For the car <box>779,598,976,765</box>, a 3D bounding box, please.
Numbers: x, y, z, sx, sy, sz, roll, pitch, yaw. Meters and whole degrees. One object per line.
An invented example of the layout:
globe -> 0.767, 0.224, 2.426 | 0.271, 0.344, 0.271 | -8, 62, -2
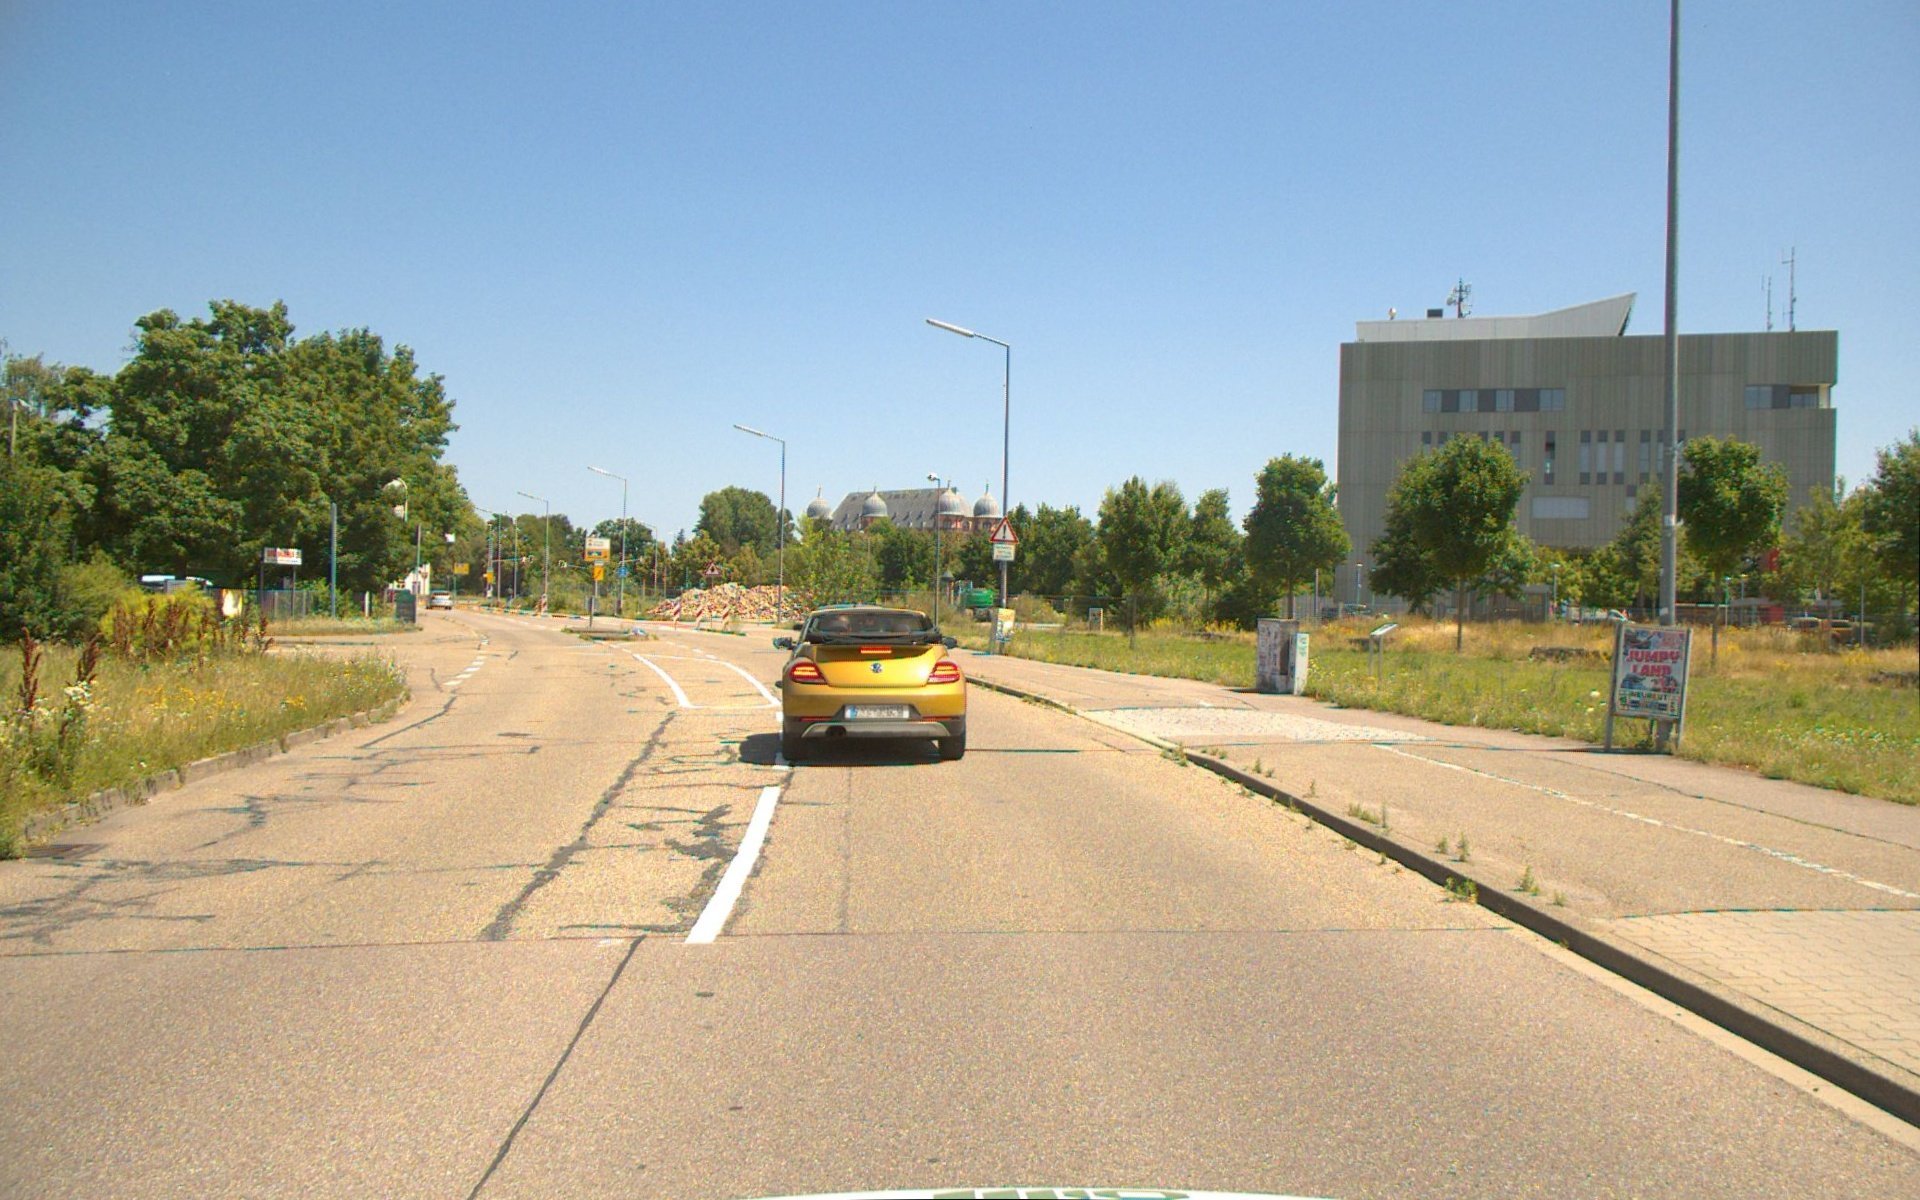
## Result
car -> -0.905, 0.737, 16.850 | 1.755, 1.462, 3.810 | 1, 0, -5

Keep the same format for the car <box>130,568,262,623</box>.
car -> -29.104, -0.160, 63.118 | 4.233, 2.011, 1.776 | 1, 0, -15

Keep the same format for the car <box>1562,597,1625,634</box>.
car -> 41.503, 1.005, 108.396 | 3.762, 2.334, 1.743 | 1, 0, 19

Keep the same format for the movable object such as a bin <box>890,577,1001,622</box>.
movable object such as a bin -> -1.263, -0.073, 129.803 | 4.876, 3.317, 10.387 | 1, 0, -25

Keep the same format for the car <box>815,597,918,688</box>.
car -> -1.716, 0.711, 29.480 | 1.693, 1.468, 3.996 | 1, 0, -5
